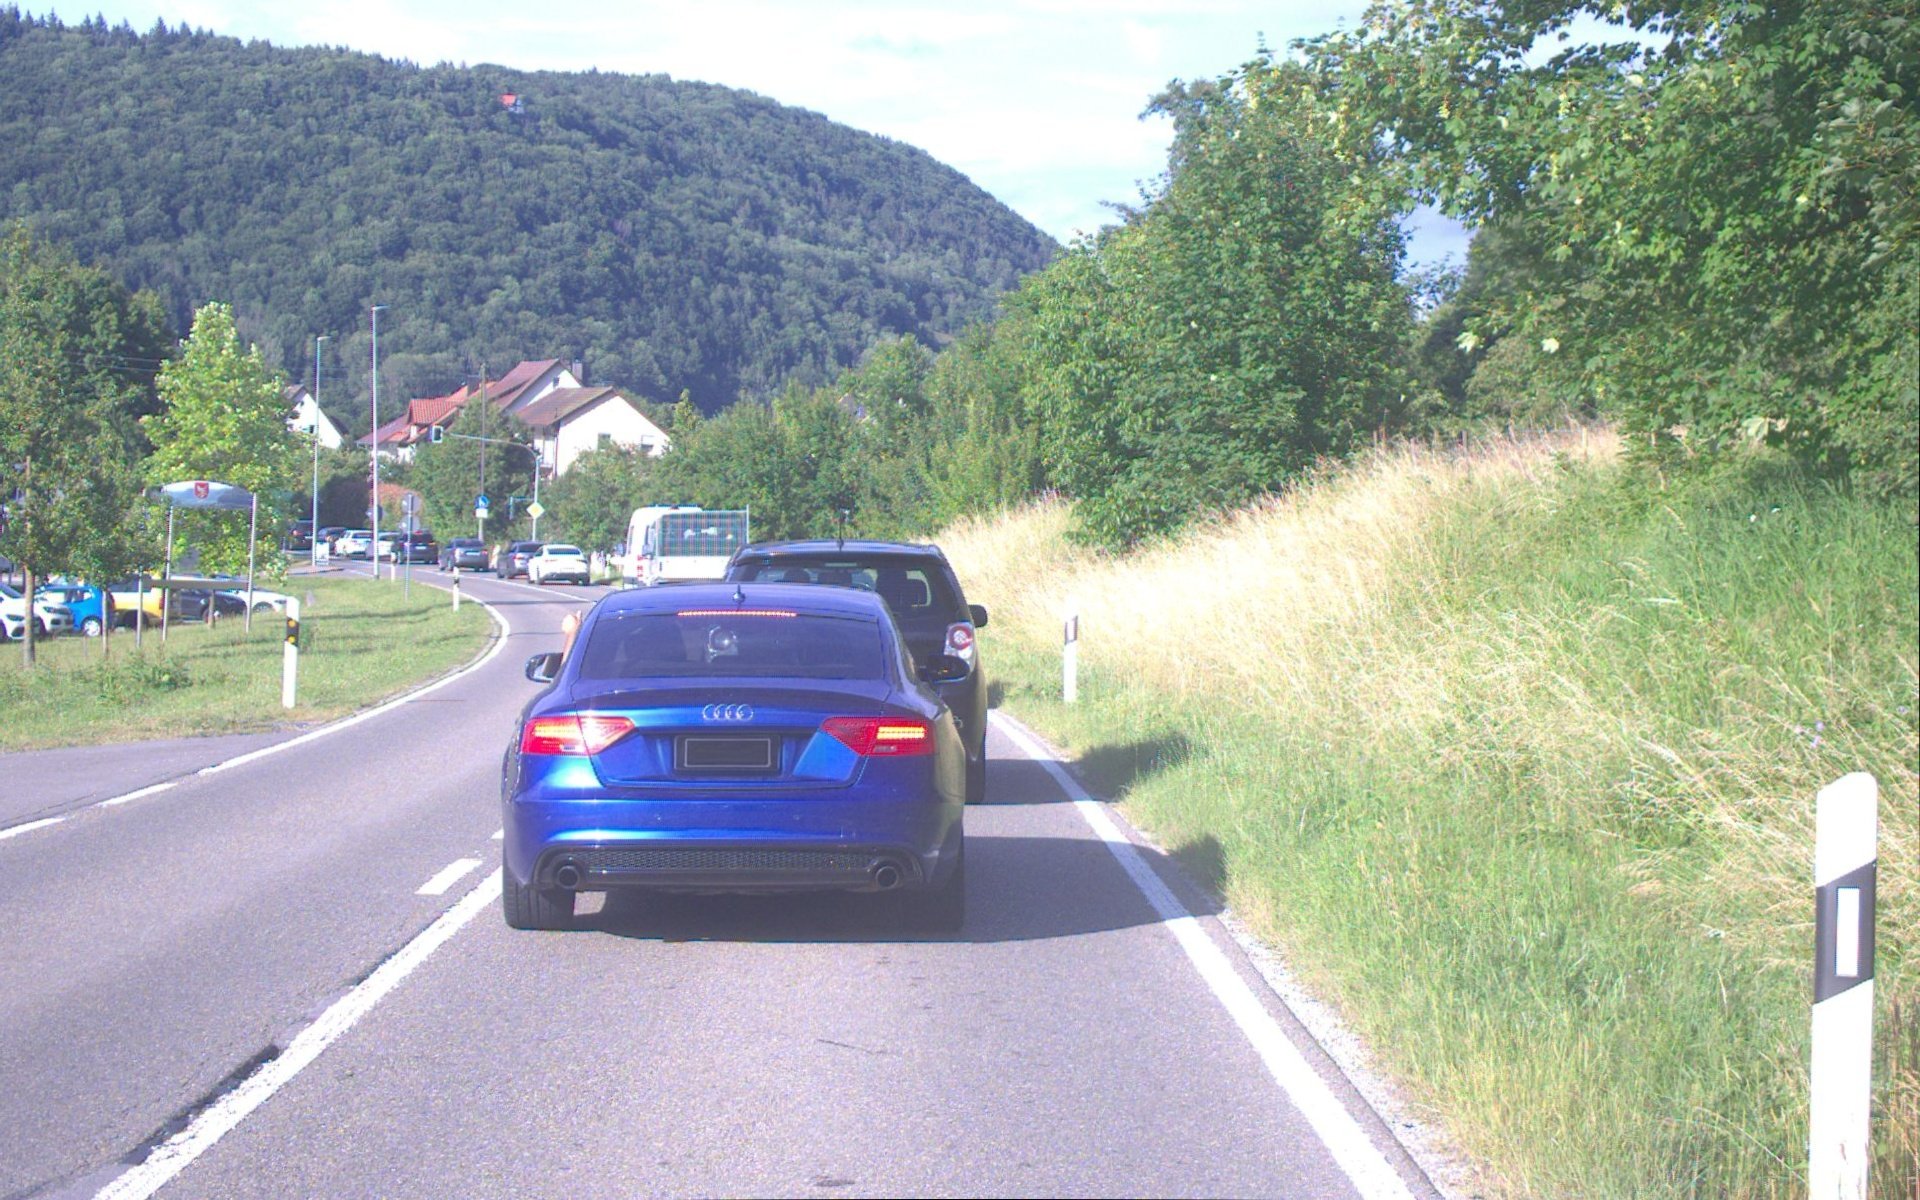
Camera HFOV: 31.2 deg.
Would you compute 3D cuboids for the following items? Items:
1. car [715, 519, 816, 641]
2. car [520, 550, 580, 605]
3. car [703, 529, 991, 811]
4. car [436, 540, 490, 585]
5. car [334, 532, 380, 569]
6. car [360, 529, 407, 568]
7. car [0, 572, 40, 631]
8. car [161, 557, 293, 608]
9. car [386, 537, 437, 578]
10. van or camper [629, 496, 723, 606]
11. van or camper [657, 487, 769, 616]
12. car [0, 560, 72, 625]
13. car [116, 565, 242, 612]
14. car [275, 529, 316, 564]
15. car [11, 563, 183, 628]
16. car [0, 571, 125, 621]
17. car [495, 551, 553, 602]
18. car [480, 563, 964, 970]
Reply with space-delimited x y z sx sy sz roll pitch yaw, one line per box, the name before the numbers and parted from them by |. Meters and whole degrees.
car | -3.356 -0.361 58.774 1.567 2.007 4.001 -1 1 -5
car | -14.552 -0.803 121.961 1.659 1.918 4.001 -1 1 -13
car | -0.758 0.386 21.904 1.645 1.619 3.517 1 1 -3
car | -21.822 -1.633 150.890 1.659 1.918 4.001 -1 1 -18
car | -32.090 -2.645 182.799 1.676 1.918 4.001 -1 1 -21
car | -29.308 -2.619 174.808 1.676 1.918 4.001 -1 1 -20
car | -26.085 0.044 89.715 3.666 1.488 1.596 0 1 4
car | -24.773 -0.584 116.207 4.036 1.655 1.655 -1 1 4
car | -26.507 -2.049 166.086 1.676 1.918 4.001 -1 1 -20
van or camper | -7.289 -1.248 87.784 2.280 2.704 5.768 -1 1 -5
van or camper | -5.091 -0.984 70.282 2.051 2.497 5.812 -1 1 -6
car | -26.091 -0.200 92.234 4.077 1.667 1.596 0 2 4
car | -25.421 -0.381 111.954 3.713 1.434 1.509 -1 1 4
car | -38.335 -3.077 198.262 1.676 1.918 4.001 -1 1 -21
car | -25.493 -0.142 101.591 4.554 1.808 1.841 -1 1 4
car | -25.932 -0.129 99.040 3.369 1.369 1.660 -1 1 -3
car | -16.885 -0.919 133.086 1.659 1.918 4.001 -1 1 -15
car | -0.878 0.592 14.360 1.742 1.445 3.517 1 1 0
